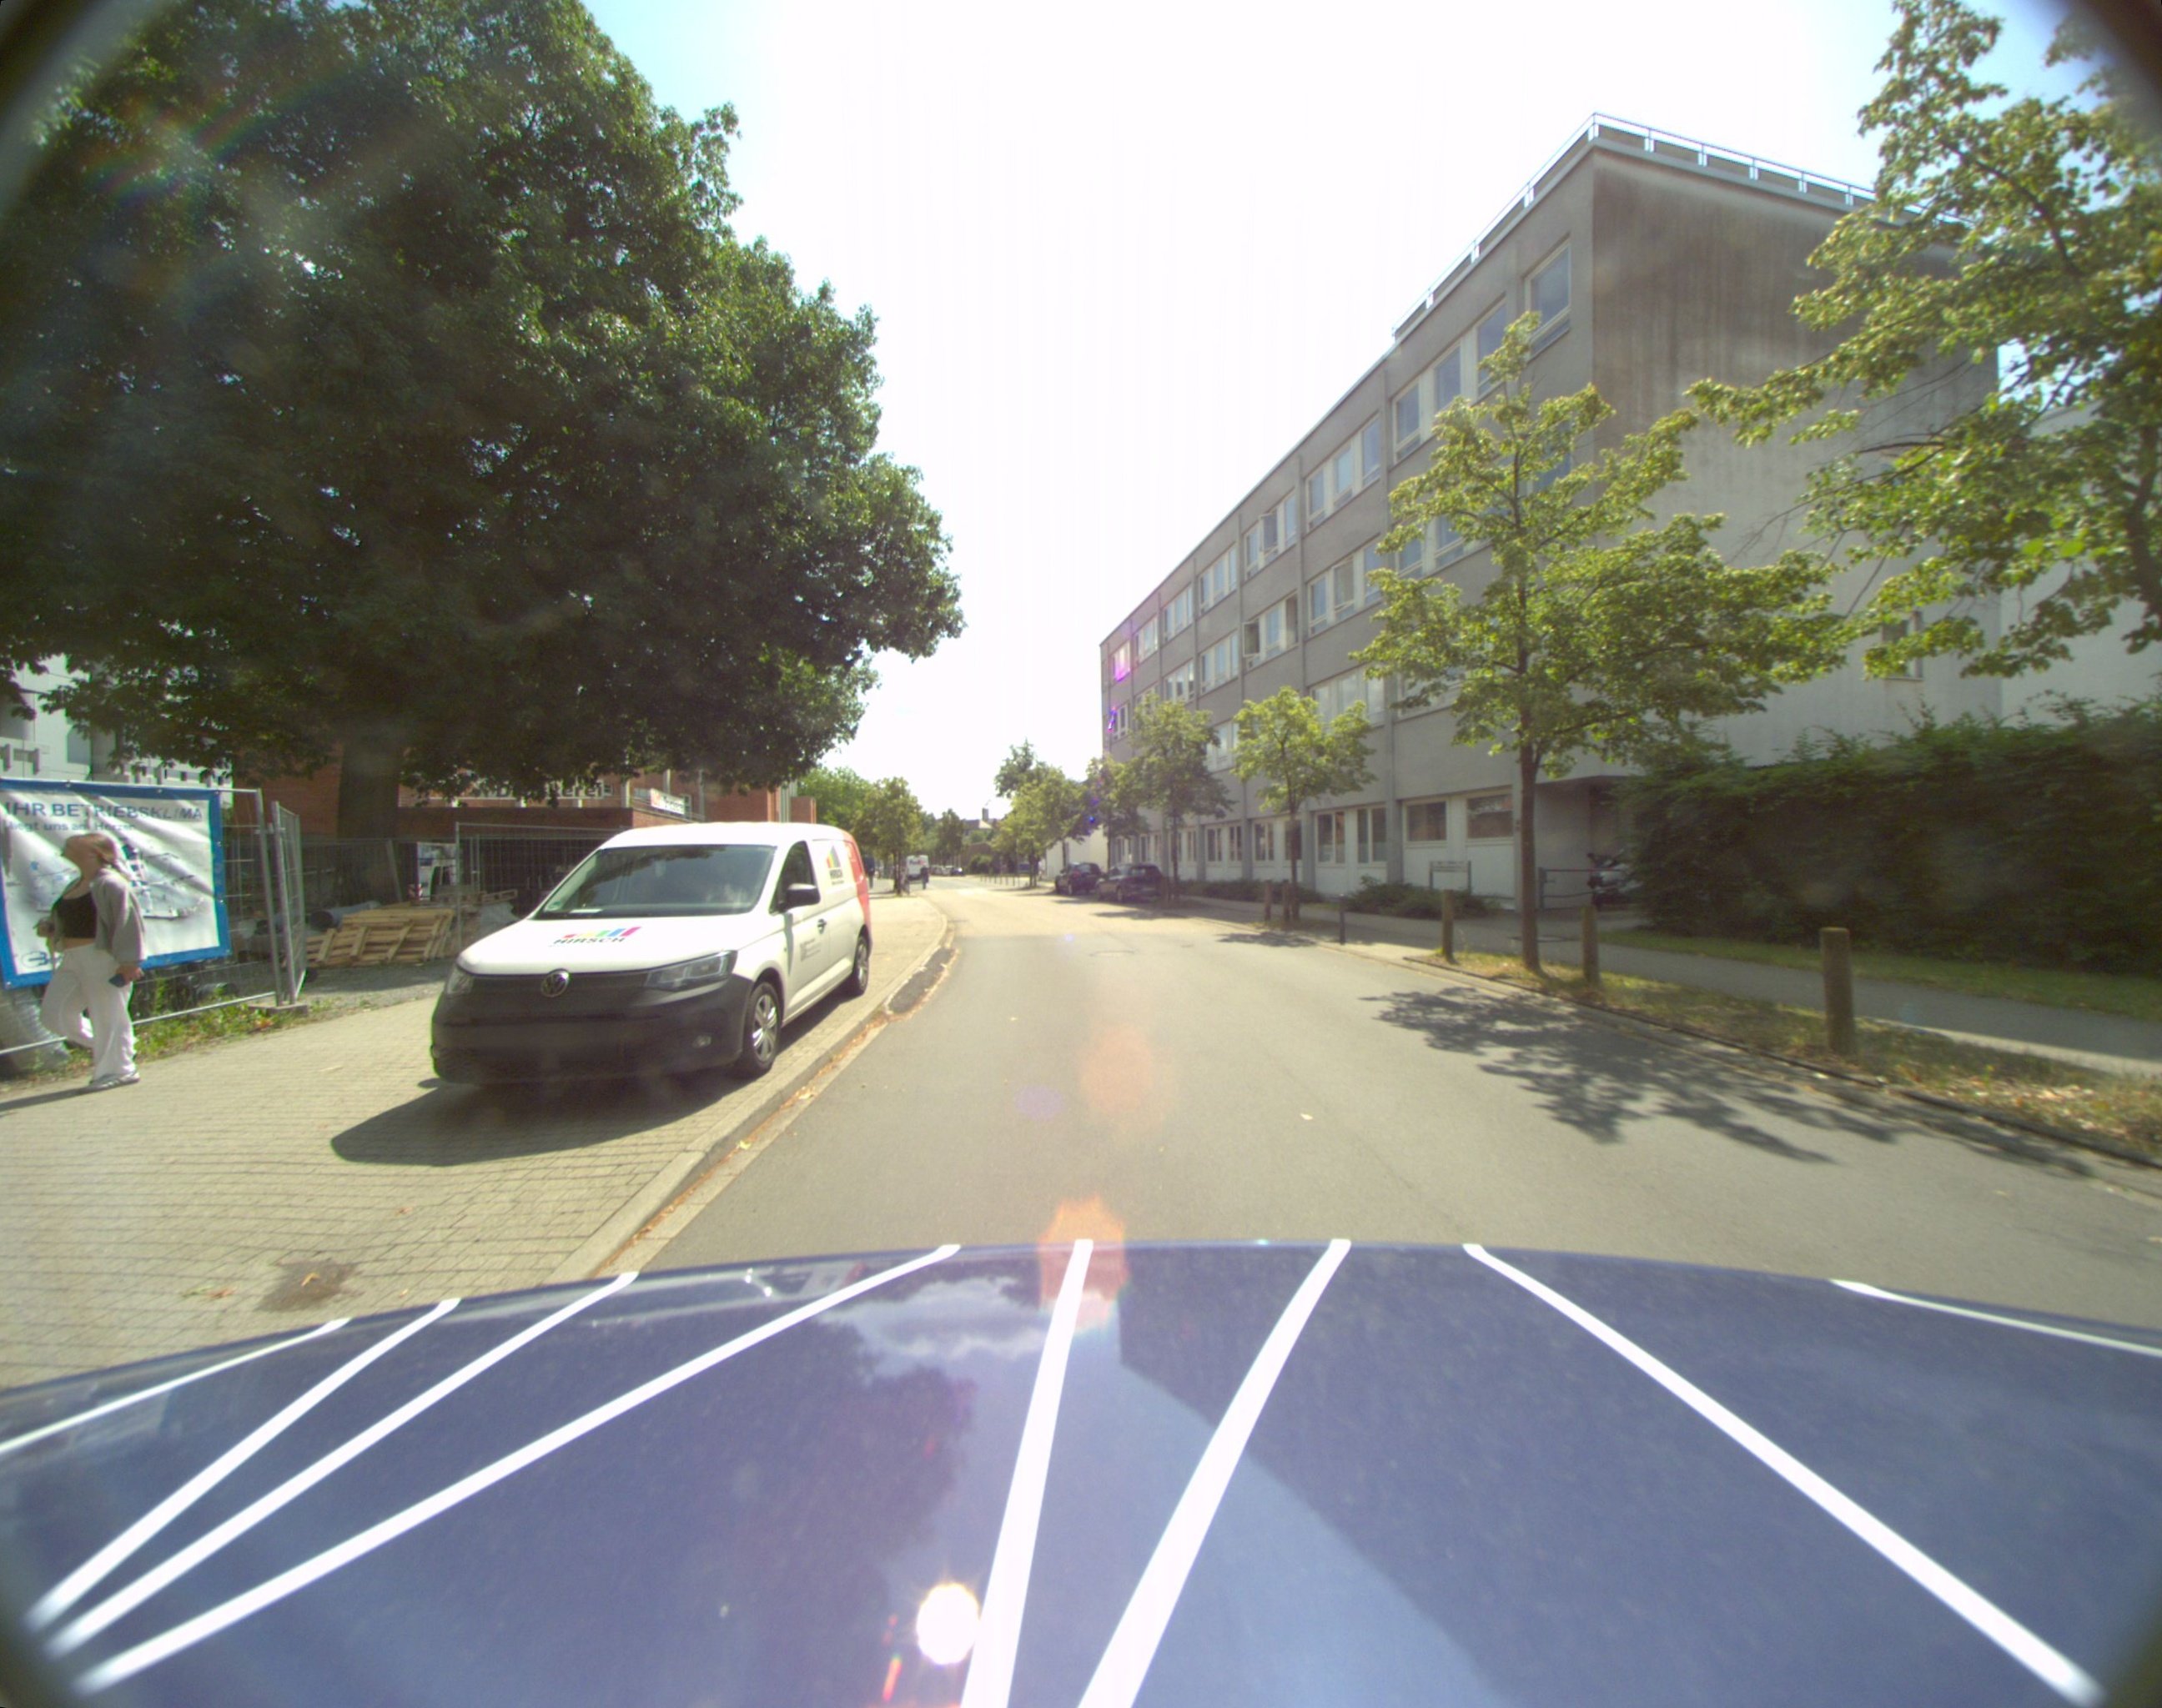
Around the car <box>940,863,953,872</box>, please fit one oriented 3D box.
[{"bbox_3d":[-21.636,2.214,122.253,1.720,1.424,3.995,-1,0,-14],"label":"car"}]

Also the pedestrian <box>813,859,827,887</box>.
[{"bbox_3d":[-17.301,1.264,50.305,0.847,1.823,1.195,-1,0,-20],"label":"pedestrian"}]

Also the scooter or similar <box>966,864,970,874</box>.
[{"bbox_3d":[-14.687,1.938,98.868,0.471,1.209,1.203,-1,0,-9],"label":"scooter or similar"}]

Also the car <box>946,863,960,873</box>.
[{"bbox_3d":[-18.284,2.017,108.620,1.637,1.422,3.628,-1,0,-15],"label":"car"}]

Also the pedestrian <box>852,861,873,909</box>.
[{"bbox_3d":[-8.327,1.155,28.918,0.697,1.770,0.785,-1,0,-20],"label":"pedestrian"}]

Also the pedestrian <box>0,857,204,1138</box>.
[{"bbox_3d":[-6.341,0.841,4.833,0.714,1.622,0.712,-1,1,13],"label":"pedestrian"}]

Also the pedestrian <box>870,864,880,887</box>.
[{"bbox_3d":[-15.009,1.573,55.348,0.644,1.687,0.791,-1,0,-15],"label":"pedestrian"}]

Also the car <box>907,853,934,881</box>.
[{"bbox_3d":[-15.393,1.222,72.507,2.067,2.528,5.842,-1,0,-16],"label":"car"}]

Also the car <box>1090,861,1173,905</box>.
[{"bbox_3d":[1.858,1.051,29.177,1.785,1.452,4.253,-2,0,-16],"label":"car"}]

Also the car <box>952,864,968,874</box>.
[{"bbox_3d":[-16.338,1.972,102.410,1.703,1.287,3.758,-1,0,-14],"label":"car"}]

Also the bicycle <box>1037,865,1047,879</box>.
[{"bbox_3d":[-3.195,1.452,61.921,0.545,1.055,1.897,-1,0,-9],"label":"bicycle"}]

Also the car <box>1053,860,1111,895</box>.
[{"bbox_3d":[-0.023,1.084,36.945,1.703,1.555,4.062,-1,0,-16],"label":"car"}]

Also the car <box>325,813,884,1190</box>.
[{"bbox_3d":[-3.036,0.751,6.319,1.854,1.880,4.888,-1,0,-4],"label":"car"}]

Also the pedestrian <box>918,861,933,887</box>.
[{"bbox_3d":[-10.860,1.390,52.998,0.826,1.807,1.142,-1,0,-20],"label":"pedestrian"}]

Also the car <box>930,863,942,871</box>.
[{"bbox_3d":[-28.316,2.530,148.483,1.935,1.624,4.367,-1,0,-14],"label":"car"}]

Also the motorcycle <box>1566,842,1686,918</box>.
[{"bbox_3d":[11.948,0.540,16.674,2.104,1.541,1.080,-1,0,-17],"label":"motorcycle"}]

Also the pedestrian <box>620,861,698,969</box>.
[{"bbox_3d":[-6.520,0.903,11.775,0.670,1.590,0.985,-1,0,-3],"label":"pedestrian"}]
